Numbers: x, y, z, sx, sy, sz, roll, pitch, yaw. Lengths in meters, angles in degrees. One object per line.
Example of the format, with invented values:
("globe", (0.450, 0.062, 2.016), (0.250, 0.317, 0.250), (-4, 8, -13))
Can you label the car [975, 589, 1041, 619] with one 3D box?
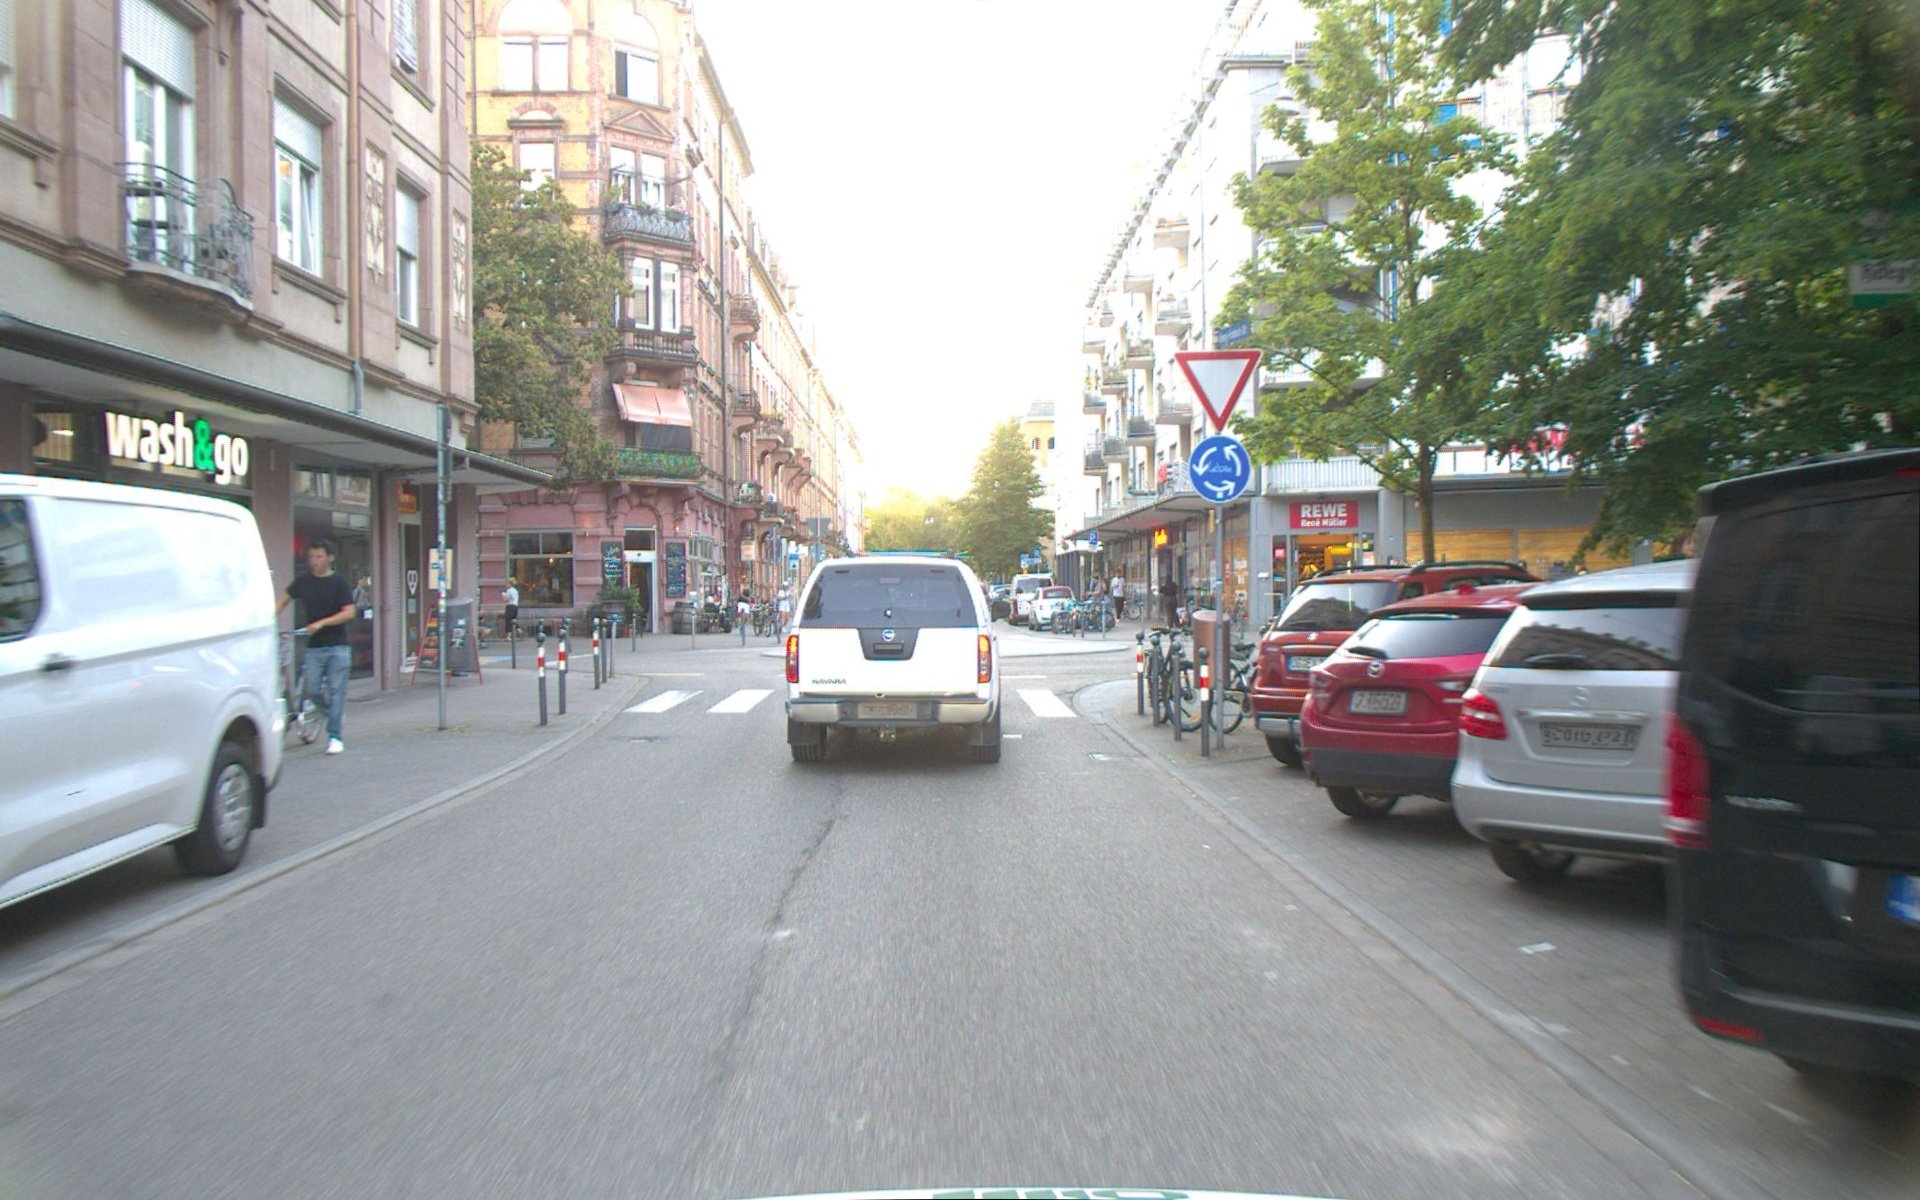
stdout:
("car", (2.919, 0.236, 100.932), (3.907, 1.780, 1.840), (1, 0, -2))

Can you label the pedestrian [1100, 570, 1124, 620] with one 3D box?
("pedestrian", (5.149, -0.164, 56.008), (0.705, 1.692, 0.702), (1, 0, -1))

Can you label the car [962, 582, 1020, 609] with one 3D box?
("car", (2.116, -0.282, 113.801), (3.907, 1.780, 1.840), (1, 0, -2))

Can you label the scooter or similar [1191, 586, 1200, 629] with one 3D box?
("scooter or similar", (7.048, 0.216, 49.462), (0.214, 1.259, 0.967), (0, 2, 6))

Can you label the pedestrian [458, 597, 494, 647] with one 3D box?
("pedestrian", (-12.695, 0.577, 43.426), (0.739, 1.284, 0.668), (1, 0, -2))

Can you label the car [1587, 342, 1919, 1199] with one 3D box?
("car", (4.463, 0.279, 5.641), (5.387, 2.108, 1.906), (-4, 2, -40))

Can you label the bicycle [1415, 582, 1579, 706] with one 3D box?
("bicycle", (5.925, 0.457, 18.322), (0.592, 1.311, 1.700), (0, 0, -37))

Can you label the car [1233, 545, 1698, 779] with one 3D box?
("car", (4.413, 0.425, 14.247), (3.999, 1.656, 1.674), (-3, 2, -33))

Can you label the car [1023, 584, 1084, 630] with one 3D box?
("car", (3.264, 0.242, 58.584), (1.797, 1.569, 3.998), (1, 0, -2))

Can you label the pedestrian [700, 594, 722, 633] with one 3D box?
("pedestrian", (-7.891, 0.423, 52.481), (0.636, 1.211, 0.539), (1, 0, -5))

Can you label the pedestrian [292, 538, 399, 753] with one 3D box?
("pedestrian", (-5.482, 0.395, 14.800), (0.525, 1.855, 0.997), (1, -1, 2))

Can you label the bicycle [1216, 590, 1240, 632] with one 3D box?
("bicycle", (7.349, 0.295, 45.324), (0.284, 1.132, 0.963), (1, 0, -13))

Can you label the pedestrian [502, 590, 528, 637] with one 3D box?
("pedestrian", (-12.438, 0.375, 46.240), (0.446, 1.284, 0.575), (0, -1, 23))

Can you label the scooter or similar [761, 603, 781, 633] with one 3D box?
("scooter or similar", (-6.143, 0.587, 53.825), (0.230, 0.945, 1.255), (1, 0, -26))

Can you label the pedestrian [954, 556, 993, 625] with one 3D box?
("pedestrian", (0.380, -0.271, 46.676), (0.895, 1.918, 0.609), (1, -1, -32))

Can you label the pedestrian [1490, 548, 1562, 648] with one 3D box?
("pedestrian", (10.436, -0.037, 30.520), (0.853, 1.801, 0.943), (1, 0, -21))

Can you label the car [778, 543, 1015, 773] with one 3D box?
("car", (-0.466, 0.400, 15.767), (1.898, 1.841, 5.002), (0, 2, 1))

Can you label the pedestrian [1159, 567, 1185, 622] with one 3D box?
("pedestrian", (6.598, -0.162, 51.505), (0.705, 1.692, 0.702), (1, 0, 0))

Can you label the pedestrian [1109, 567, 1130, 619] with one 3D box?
("pedestrian", (6.040, -0.247, 62.570), (0.705, 1.940, 0.702), (1, 0, -1))

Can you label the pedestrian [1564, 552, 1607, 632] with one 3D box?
("pedestrian", (13.841, -0.170, 36.602), (0.654, 1.756, 0.718), (0, -1, 42))

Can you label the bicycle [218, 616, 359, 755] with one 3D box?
("bicycle", (-5.999, 0.728, 14.868), (0.461, 1.162, 1.785), (1, 0, 2))

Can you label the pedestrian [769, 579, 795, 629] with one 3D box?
("pedestrian", (-5.960, 0.145, 55.340), (0.782, 1.649, 0.944), (1, 0, -3))

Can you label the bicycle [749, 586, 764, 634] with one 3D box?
("bicycle", (-6.388, 0.300, 51.921), (0.415, 1.468, 1.902), (1, 0, -5))

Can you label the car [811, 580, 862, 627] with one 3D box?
("car", (-4.783, 0.136, 64.674), (1.797, 1.780, 3.998), (1, 0, -2))

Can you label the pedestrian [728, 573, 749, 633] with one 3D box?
("pedestrian", (-6.903, 0.087, 51.611), (0.497, 1.872, 0.569), (1, -1, -24))

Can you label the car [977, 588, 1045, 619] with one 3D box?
("car", (3.020, 0.230, 98.697), (3.907, 1.780, 1.840), (1, 0, -2))

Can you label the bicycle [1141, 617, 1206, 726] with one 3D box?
("bicycle", (2.259, 0.735, 17.587), (0.357, 1.082, 1.551), (1, 0, -5))

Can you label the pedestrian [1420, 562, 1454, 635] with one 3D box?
("pedestrian", (11.083, -0.030, 38.402), (0.701, 1.680, 0.713), (1, -1, 20))

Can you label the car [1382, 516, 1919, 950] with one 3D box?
("car", (4.326, 0.436, 8.473), (4.176, 1.650, 1.910), (-4, 2, -35))

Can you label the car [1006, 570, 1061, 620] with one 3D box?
("car", (2.966, -0.198, 67.359), (1.903, 1.967, 3.998), (1, 0, -2))

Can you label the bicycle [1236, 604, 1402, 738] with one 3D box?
("bicycle", (3.406, 0.657, 15.668), (1.522, 1.181, 0.363), (-2, 0, -16))

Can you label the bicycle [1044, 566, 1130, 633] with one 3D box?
("bicycle", (3.930, -0.016, 51.123), (2.593, 2.049, 0.638), (1, 0, 0))

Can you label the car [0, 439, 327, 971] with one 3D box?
("car", (-4.603, 0.384, 7.043), (2.067, 1.955, 5.023), (0, 0, -3))

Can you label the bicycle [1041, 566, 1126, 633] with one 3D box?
("bicycle", (3.875, -0.014, 51.936), (2.593, 2.049, 0.638), (1, 0, 0))

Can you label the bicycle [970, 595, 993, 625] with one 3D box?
("bicycle", (0.886, 0.393, 67.759), (0.820, 1.192, 1.937), (1, 0, 5))

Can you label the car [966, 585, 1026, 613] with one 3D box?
("car", (2.391, -0.078, 110.743), (3.907, 1.780, 1.840), (1, 0, -2))

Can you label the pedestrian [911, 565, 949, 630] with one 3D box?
("pedestrian", (-0.816, -0.063, 45.159), (0.603, 1.767, 0.904), (0, -1, 33))

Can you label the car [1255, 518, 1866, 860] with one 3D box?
("car", (4.072, 0.426, 10.902), (4.185, 1.717, 1.906), (-4, 2, -40))

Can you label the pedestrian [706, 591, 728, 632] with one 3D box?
("pedestrian", (-7.886, 0.379, 53.668), (0.636, 1.308, 0.539), (1, 0, -5))

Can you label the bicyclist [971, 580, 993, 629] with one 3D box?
("bicyclist", (0.895, 0.192, 67.839), (0.820, 1.978, 0.785), (1, 0, 4))
